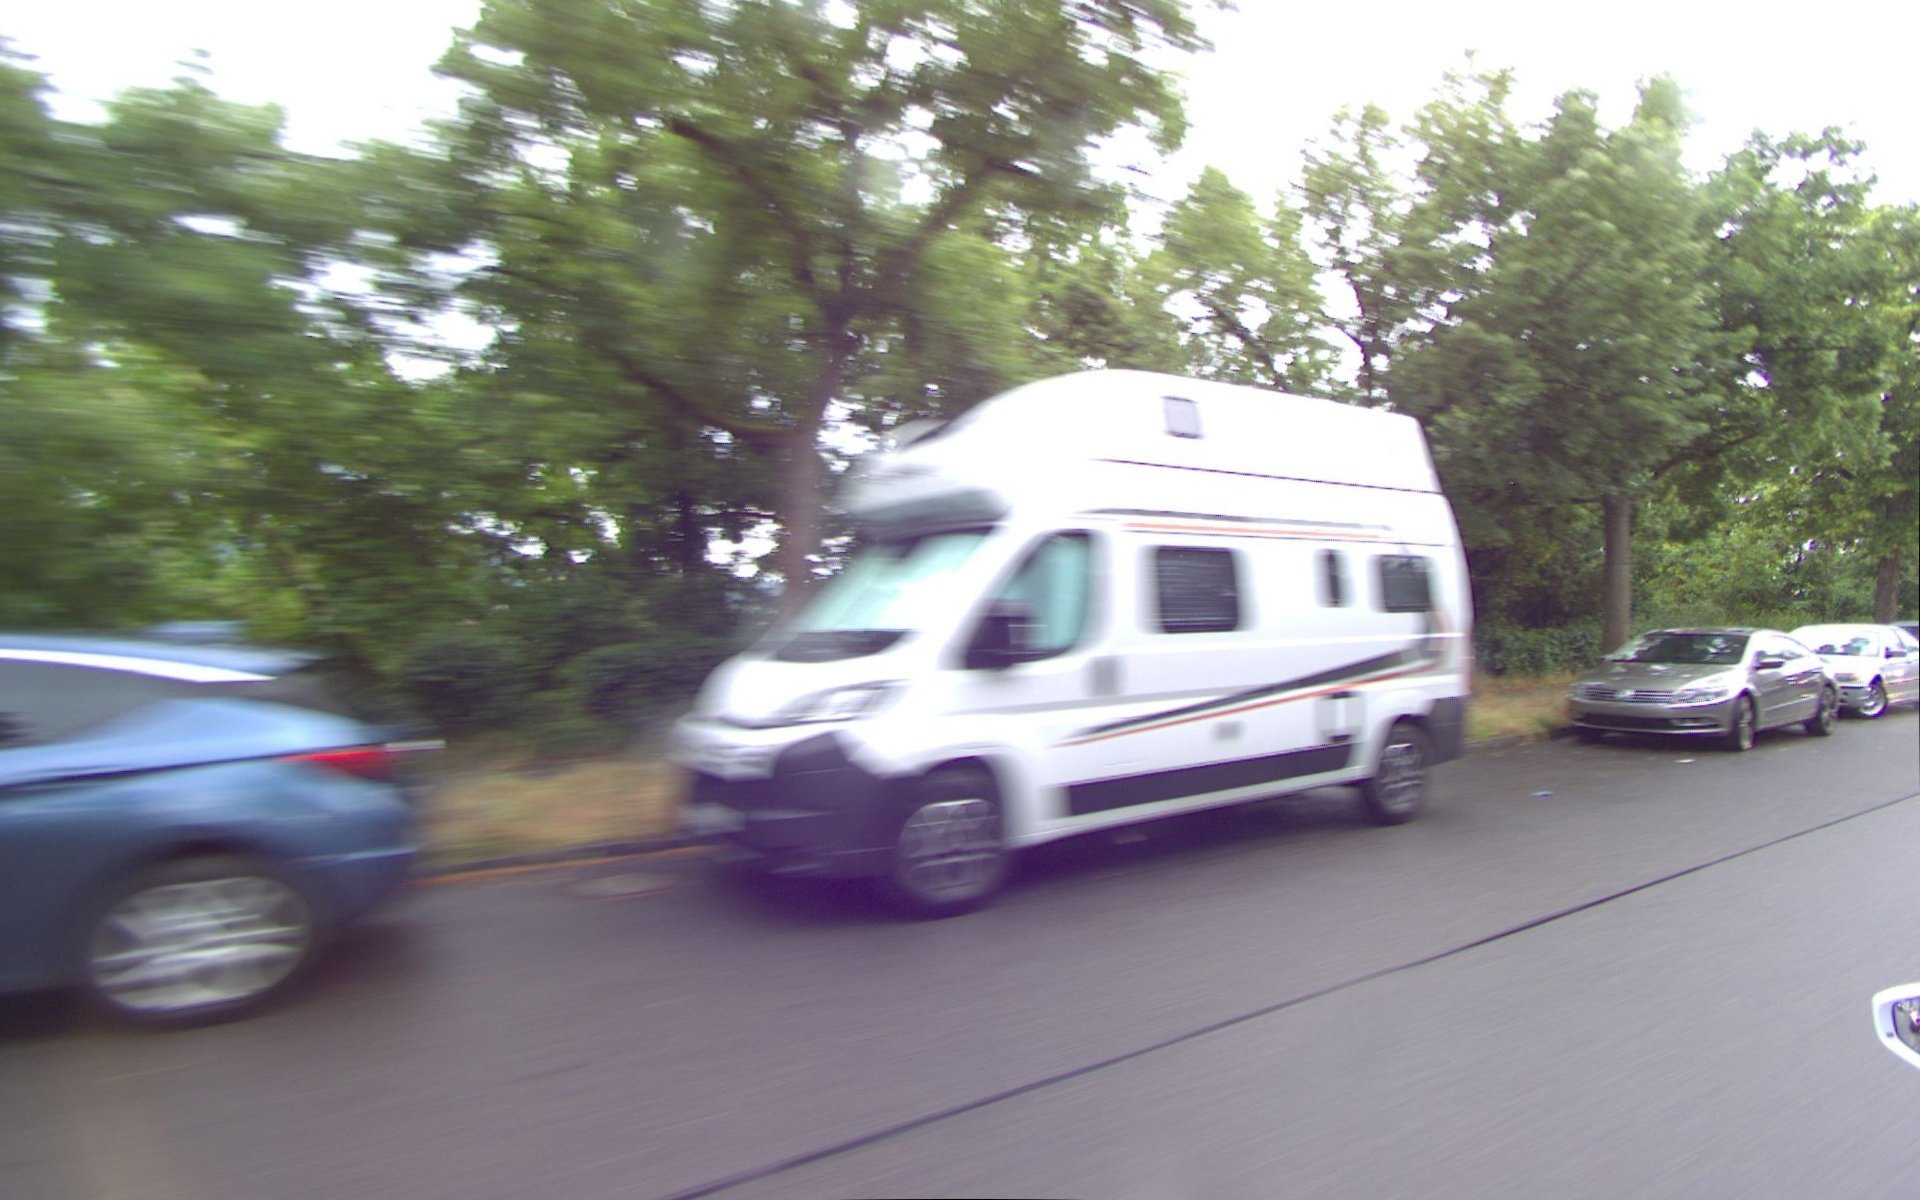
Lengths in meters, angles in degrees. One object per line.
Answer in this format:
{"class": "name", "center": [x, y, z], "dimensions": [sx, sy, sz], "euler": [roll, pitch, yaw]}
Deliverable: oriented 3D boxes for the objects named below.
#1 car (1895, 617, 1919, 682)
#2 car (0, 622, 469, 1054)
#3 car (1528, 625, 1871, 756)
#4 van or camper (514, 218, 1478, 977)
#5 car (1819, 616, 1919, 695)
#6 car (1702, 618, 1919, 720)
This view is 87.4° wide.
{"class": "car", "center": [23.392, 1.119, 22.899], "dimensions": [4.663, 1.423, 1.982], "euler": [1, -2, -33]}
{"class": "car", "center": [-4.250, 0.842, 3.931], "dimensions": [4.152, 1.426, 1.948], "euler": [0, -3, -26]}
{"class": "car", "center": [9.864, 1.048, 13.249], "dimensions": [5.299, 1.326, 1.982], "euler": [0, -1, -34]}
{"class": "van or camper", "center": [0.645, 0.074, 6.963], "dimensions": [6.495, 3.066, 2.490], "euler": [1, -2, -35]}
{"class": "car", "center": [18.902, 1.048, 19.648], "dimensions": [4.663, 1.423, 1.982], "euler": [1, -2, -33]}
{"class": "car", "center": [14.613, 1.057, 16.765], "dimensions": [4.660, 1.424, 1.983], "euler": [0, -1, -32]}
